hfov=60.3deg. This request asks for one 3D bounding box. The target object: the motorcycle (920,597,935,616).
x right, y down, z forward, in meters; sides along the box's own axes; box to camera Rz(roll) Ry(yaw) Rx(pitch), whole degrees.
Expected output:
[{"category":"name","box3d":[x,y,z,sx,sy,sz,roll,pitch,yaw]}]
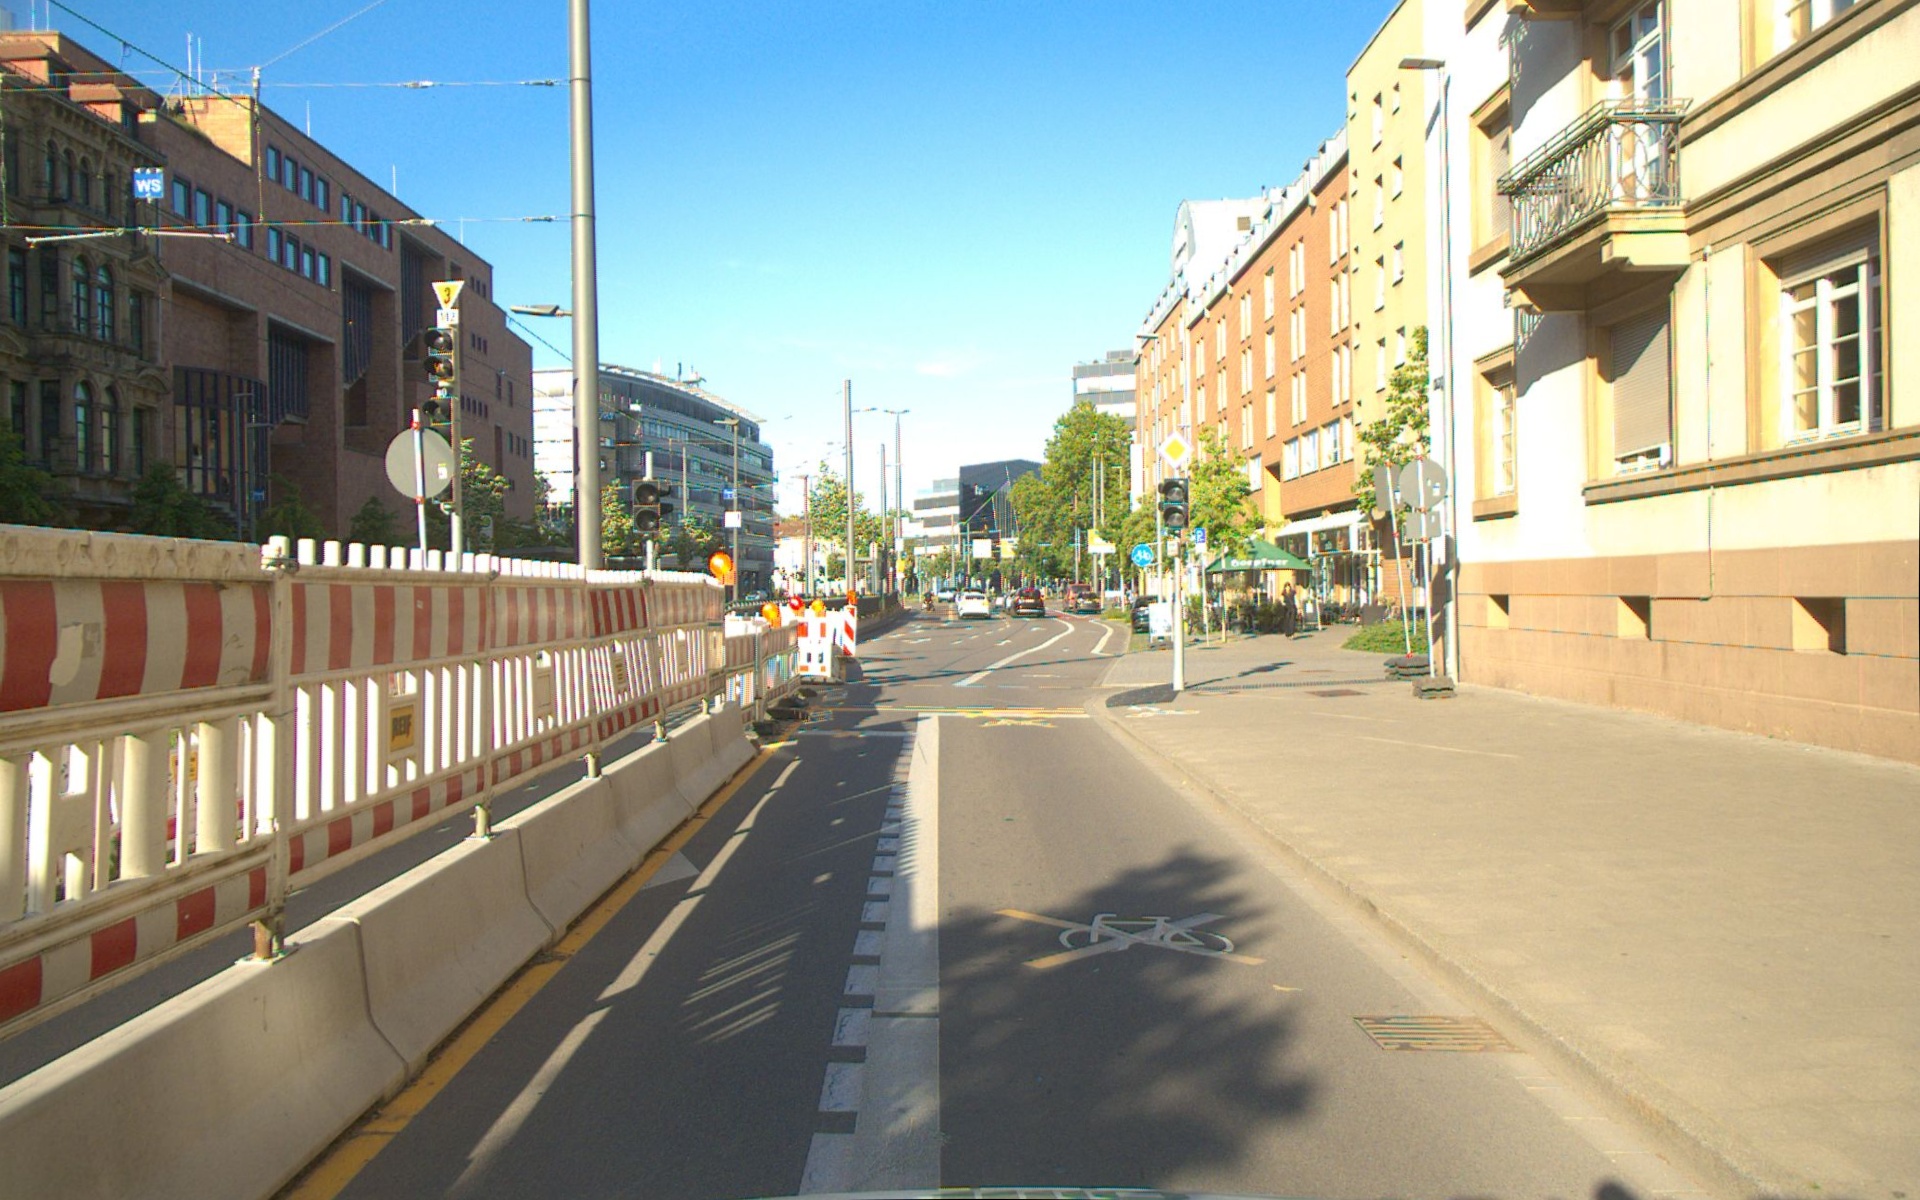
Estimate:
[{"category":"motorcycle","box3d":[-2.322,0.470,119.653,0.998,1.335,2.914,1,0,0]}]

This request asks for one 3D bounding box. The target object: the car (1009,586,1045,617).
[{"category":"car","box3d":[3.997,0.093,99.688,1.934,1.790,4.632,1,0,0]}]

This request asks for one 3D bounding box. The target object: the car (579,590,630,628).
[{"category":"car","box3d":[-18.751,0.455,87.325,1.954,1.913,4.580,0,0,-3]}]

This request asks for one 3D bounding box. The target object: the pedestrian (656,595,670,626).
[{"category":"pedestrian","box3d":[-15.778,0.543,87.917,0.610,1.640,0.616,0,0,0]}]

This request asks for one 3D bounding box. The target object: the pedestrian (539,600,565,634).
[{"category":"pedestrian","box3d":[-14.819,0.607,60.033,0.706,1.188,0.721,-3,0,0]}]

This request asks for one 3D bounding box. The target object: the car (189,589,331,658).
[{"category":"car","box3d":[-18.051,0.579,42.848,1.759,1.668,4.476,-1,0,0]}]

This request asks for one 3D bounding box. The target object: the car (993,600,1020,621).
[{"category":"car","box3d":[3.474,0.772,124.395,1.813,1.524,4.378,0,0,0]}]

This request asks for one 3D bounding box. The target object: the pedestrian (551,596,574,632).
[{"category":"pedestrian","box3d":[-14.905,0.523,62.072,0.633,1.331,0.721,-3,0,0]}]

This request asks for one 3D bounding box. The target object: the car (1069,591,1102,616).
[{"category":"car","box3d":[8.445,0.216,111.682,1.809,1.588,4.632,1,0,0]}]

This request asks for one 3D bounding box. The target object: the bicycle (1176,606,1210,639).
[{"category":"bicycle","box3d":[8.540,0.835,60.700,0.750,1.100,1.996,-6,-1,-4]}]

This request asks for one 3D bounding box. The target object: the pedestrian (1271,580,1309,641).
[{"category":"pedestrian","box3d":[10.080,0.328,50.504,0.866,1.794,1.105,-3,-1,22]}]

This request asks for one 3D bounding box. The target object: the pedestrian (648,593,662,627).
[{"category":"pedestrian","box3d":[-15.968,0.511,86.644,0.610,1.745,0.616,0,0,0]}]

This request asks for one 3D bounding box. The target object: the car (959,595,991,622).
[{"category":"car","box3d":[0.819,0.445,94.005,1.744,1.439,4.818,1,0,0]}]

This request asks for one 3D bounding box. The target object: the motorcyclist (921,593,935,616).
[{"category":"motorcyclist","box3d":[-2.325,0.293,119.657,0.998,1.631,1.148,1,0,0]}]

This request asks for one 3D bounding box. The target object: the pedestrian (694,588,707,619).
[{"category":"pedestrian","box3d":[-14.735,0.211,93.858,0.627,1.725,0.541,1,0,0]}]

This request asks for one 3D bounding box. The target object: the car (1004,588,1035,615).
[{"category":"car","box3d":[3.831,0.100,107.273,1.813,1.668,4.378,0,0,-1]}]

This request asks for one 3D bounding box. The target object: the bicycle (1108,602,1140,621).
[{"category":"bicycle","box3d":[10.044,0.726,101.361,1.903,1.094,0.555,-2,-1,10]}]

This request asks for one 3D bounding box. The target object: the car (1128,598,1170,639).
[{"category":"car","box3d":[8.052,0.755,70.627,1.684,1.665,4.234,-2,0,6]}]

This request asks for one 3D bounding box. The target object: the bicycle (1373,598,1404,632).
[{"category":"bicycle","box3d":[15.389,0.520,59.404,0.601,1.190,1.536,-2,0,-4]}]
